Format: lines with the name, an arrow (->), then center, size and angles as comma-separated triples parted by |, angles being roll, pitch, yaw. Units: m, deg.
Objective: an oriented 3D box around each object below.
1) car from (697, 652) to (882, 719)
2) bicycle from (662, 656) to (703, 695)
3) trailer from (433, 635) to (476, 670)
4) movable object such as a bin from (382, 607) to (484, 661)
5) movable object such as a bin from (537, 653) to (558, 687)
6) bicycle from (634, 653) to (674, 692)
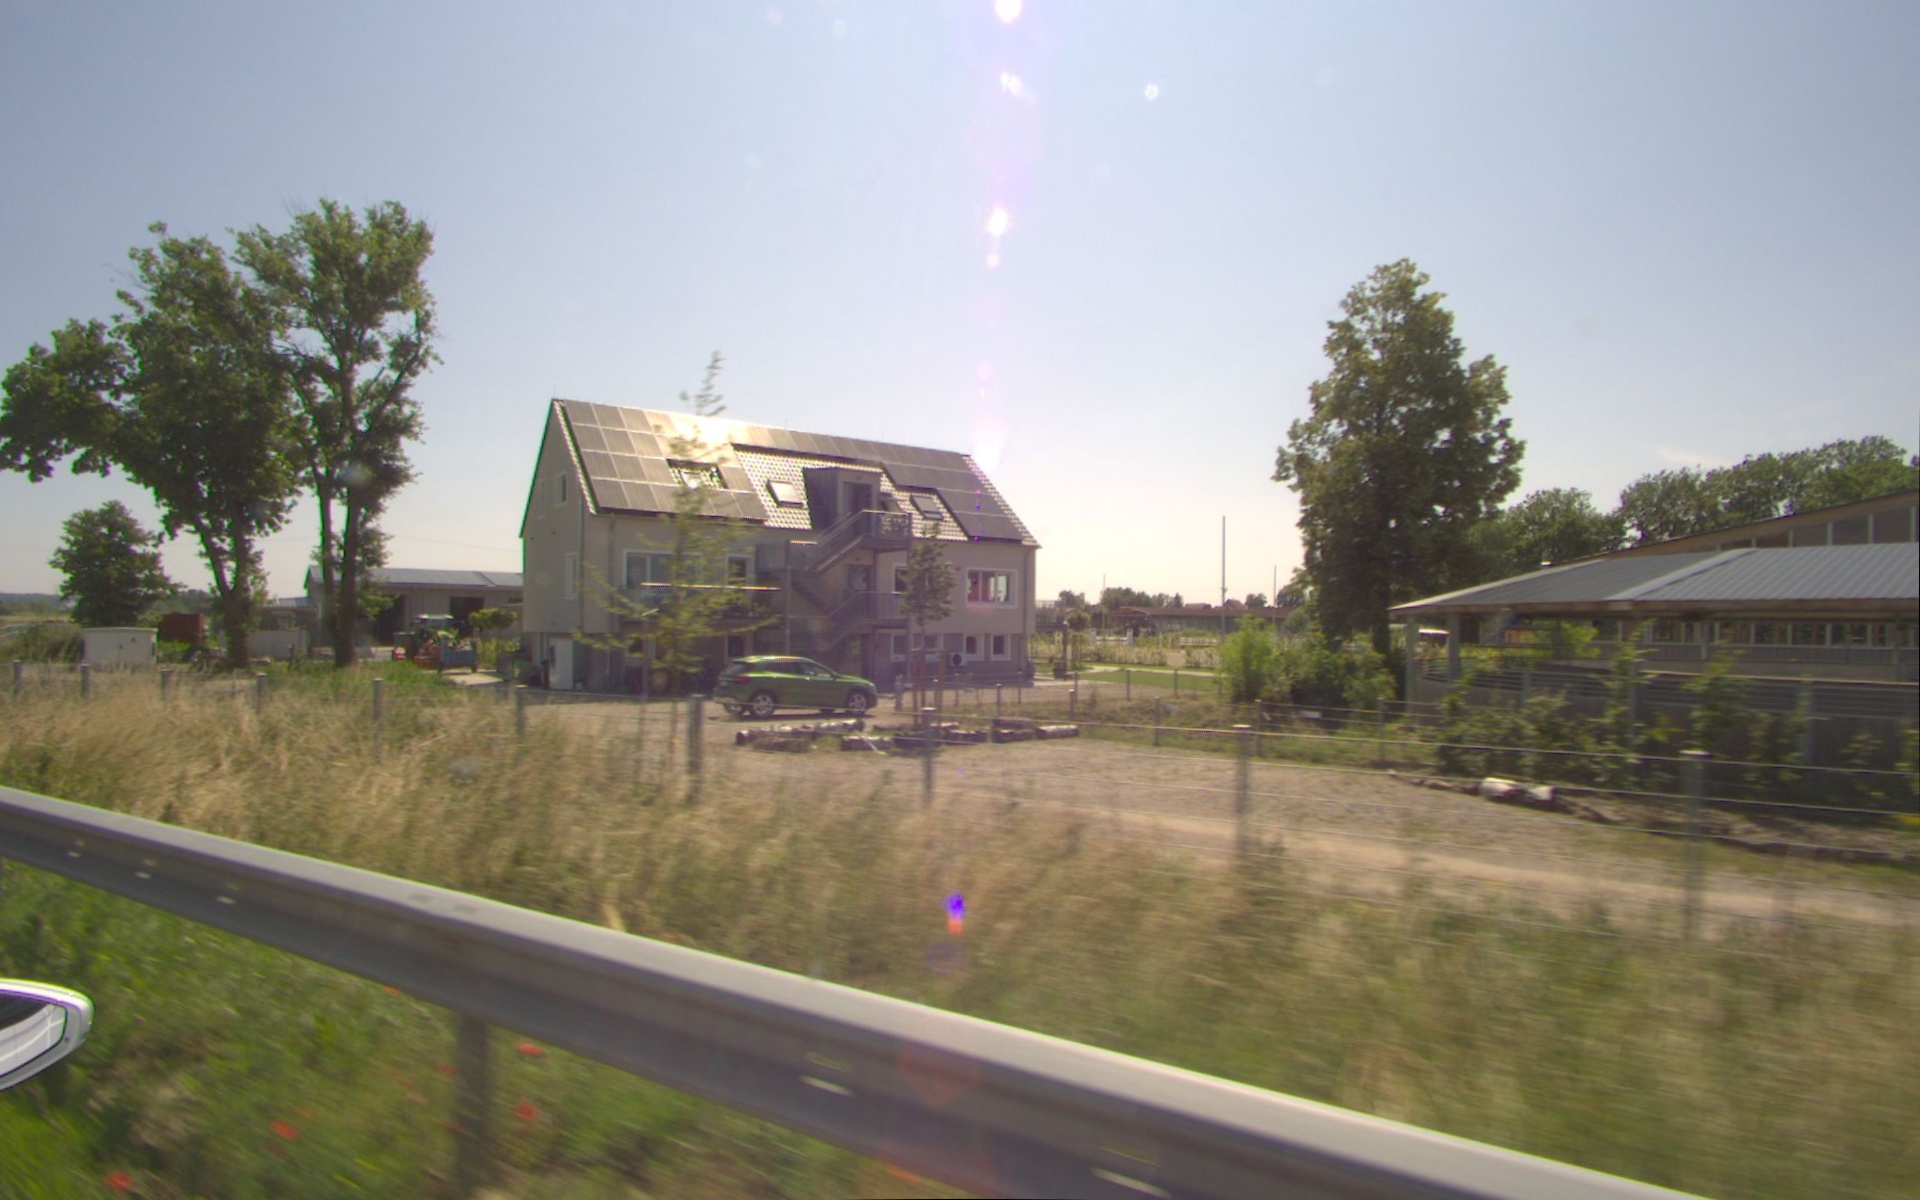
car -> -4.377, 2.203, 25.912 | 4.319, 1.599, 1.922 | 3, -4, -34
bicycle -> -9.201, 2.477, 33.114 | 0.705, 1.207, 1.957 | 2, -2, -34
trailer -> -23.190, 2.415, 45.925 | 1.691, 1.514, 3.129 | 2, -4, -28
movable object such as a bin -> -29.395, 1.844, 55.754 | 6.433, 2.805, 2.988 | 0, -3, 43
movable object such as a bin -> -14.587, 2.462, 35.378 | 0.571, 1.165, 0.657 | 1, -1, -32
bicycle -> -9.966, 2.351, 32.587 | 0.705, 1.206, 1.959 | 3, -3, -32
